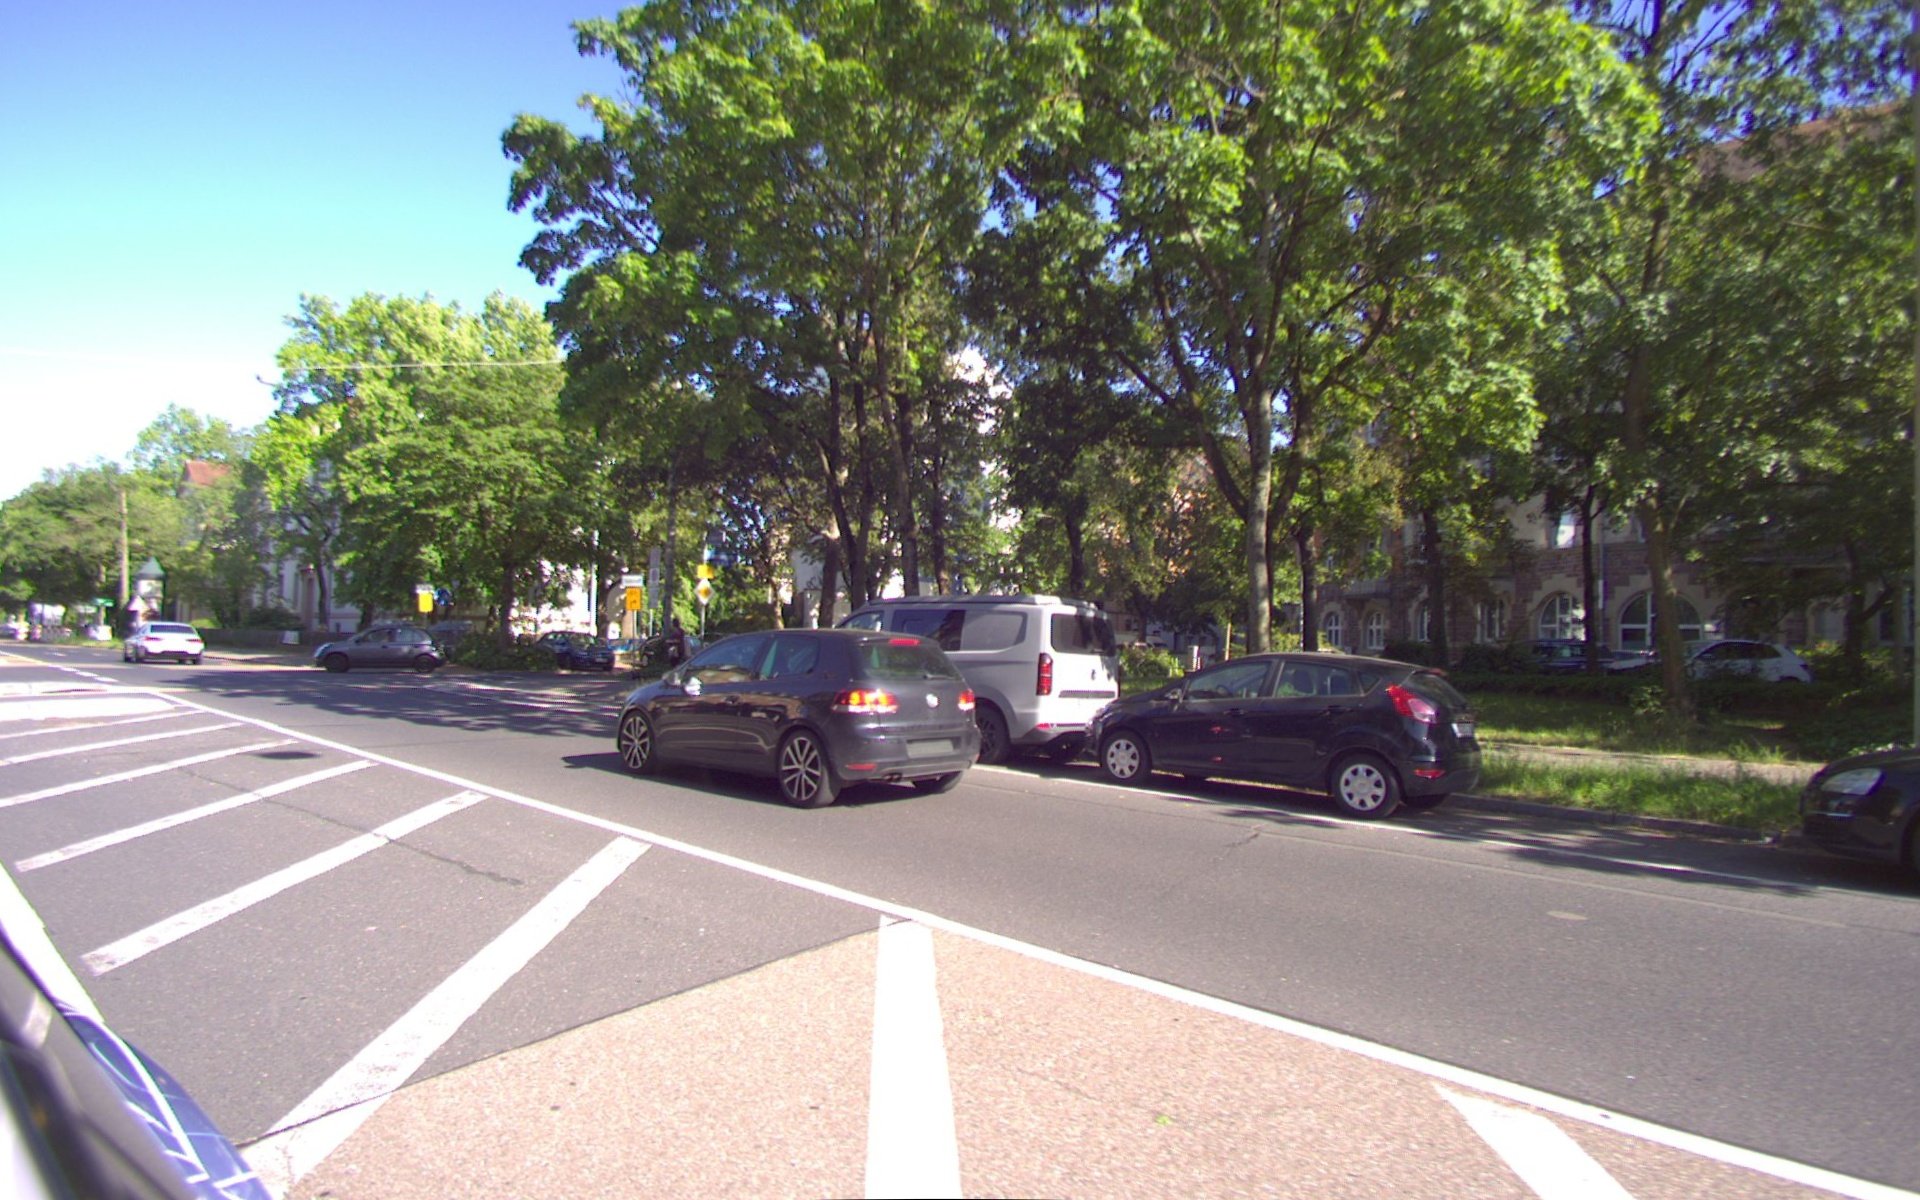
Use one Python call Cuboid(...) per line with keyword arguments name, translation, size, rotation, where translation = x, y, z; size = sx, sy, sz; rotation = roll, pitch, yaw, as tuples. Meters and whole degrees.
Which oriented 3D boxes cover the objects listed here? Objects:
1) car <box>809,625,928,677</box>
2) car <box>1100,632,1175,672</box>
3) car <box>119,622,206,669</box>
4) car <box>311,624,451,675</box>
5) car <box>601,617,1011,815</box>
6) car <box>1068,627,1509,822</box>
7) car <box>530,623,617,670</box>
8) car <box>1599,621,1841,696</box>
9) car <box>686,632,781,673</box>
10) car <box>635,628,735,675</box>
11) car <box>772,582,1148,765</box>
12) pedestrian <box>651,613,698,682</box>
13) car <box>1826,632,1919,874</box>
Cuboid(name="car", translation=(-3.288, 1.761, 35.547), size=(1.864, 1.701, 4.709), rotation=(3, -3, -38))
Cuboid(name="car", translation=(12.404, 3.591, 70.791), size=(4.916, 2.643, 1.868), rotation=(-1, -4, 42))
Cuboid(name="car", translation=(-27.740, 1.538, 35.138), size=(4.715, 1.505, 1.784), rotation=(-1, -3, 45))
Cuboid(name="car", translation=(-18.295, 1.589, 32.181), size=(3.715, 1.502, 1.850), rotation=(3, -3, -27))
Cuboid(name="car", translation=(-1.613, 0.918, 9.534), size=(4.133, 1.461, 1.575), rotation=(-1, -3, 43))
Cuboid(name="car", translation=(3.120, 1.092, 10.136), size=(3.959, 1.513, 1.448), rotation=(0, -3, 43))
Cuboid(name="car", translation=(-15.173, 1.794, 39.574), size=(1.864, 1.701, 4.709), rotation=(3, -3, -38))
Cuboid(name="car", translation=(16.956, 1.322, 22.724), size=(4.124, 1.439, 1.594), rotation=(2, -4, 2))
Cuboid(name="car", translation=(-9.994, 2.279, 44.458), size=(1.866, 1.701, 4.702), rotation=(4, -4, -44))
Cuboid(name="car", translation=(-11.605, 2.136, 42.547), size=(4.701, 1.701, 1.867), rotation=(1, -2, 44))
Cuboid(name="car", translation=(-0.130, 0.911, 13.644), size=(4.870, 2.052, 1.964), rotation=(-1, -5, 39))
Cuboid(name="pedestrian", translation=(-7.529, 1.237, 26.732), size=(0.817, 1.768, 0.863), rotation=(-1, -2, 32))
Cuboid(name="car", translation=(7.815, 1.009, 5.814), size=(4.268, 1.493, 1.574), rotation=(0, -3, 40))
